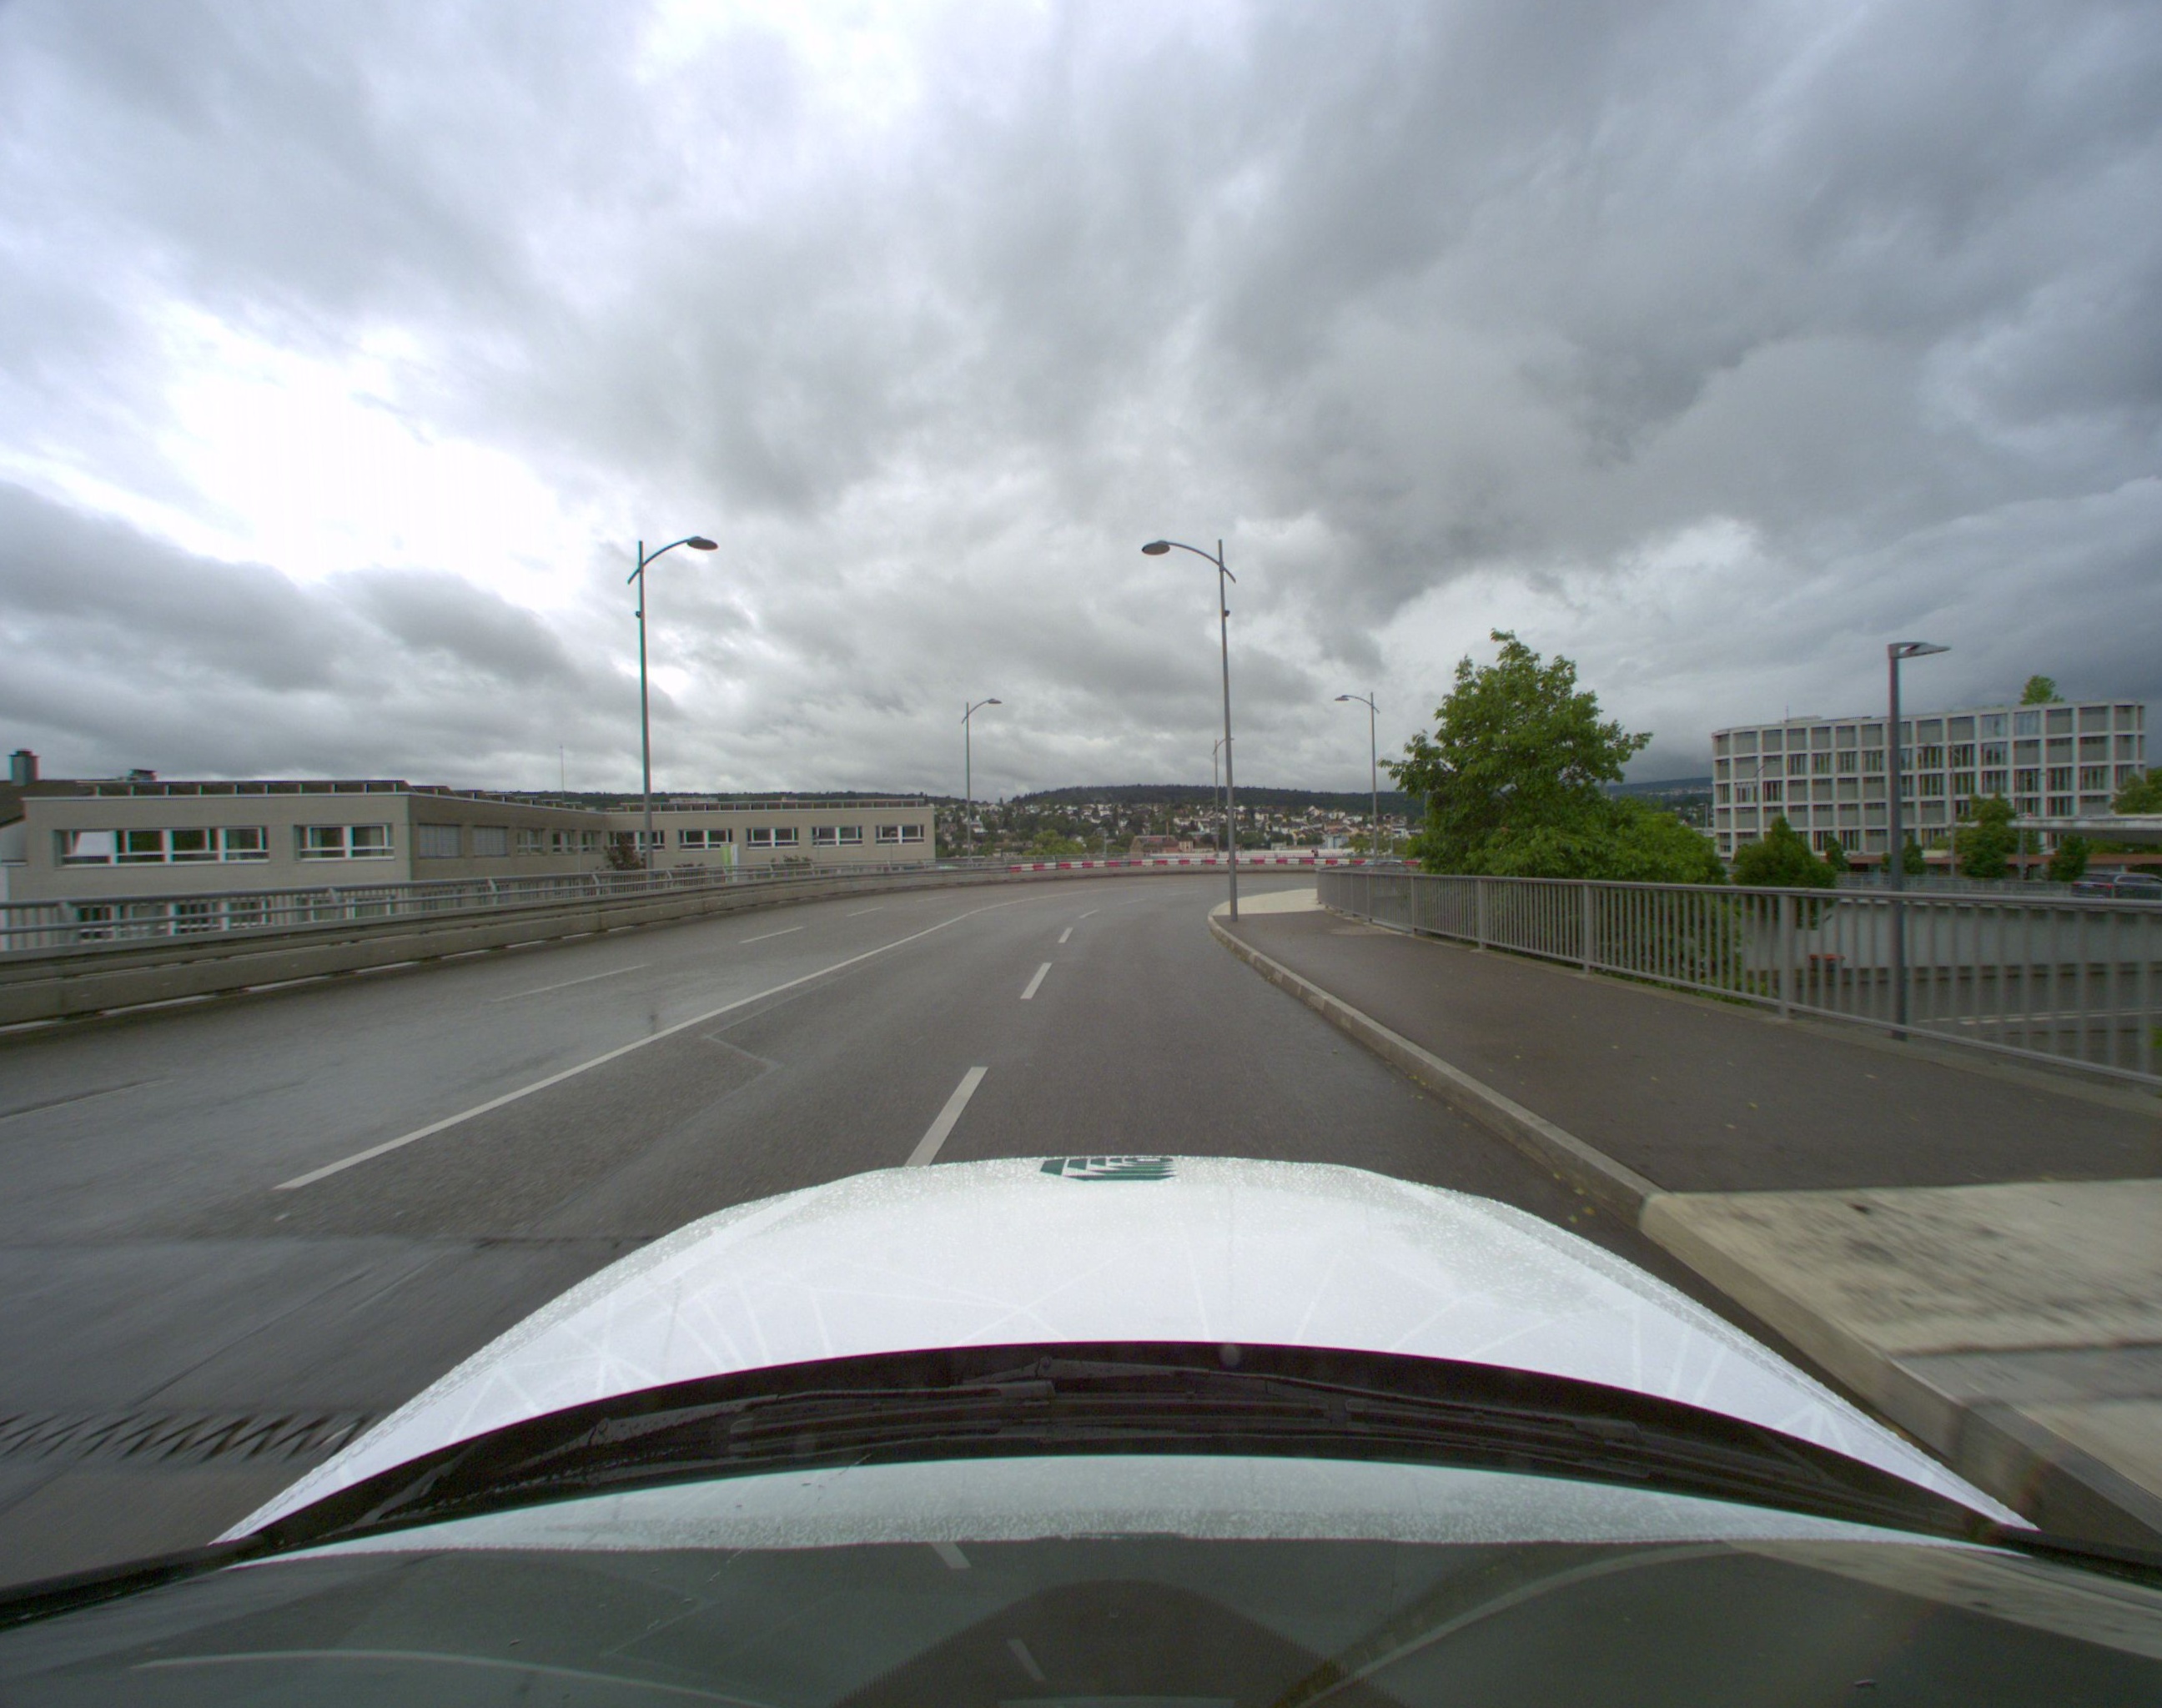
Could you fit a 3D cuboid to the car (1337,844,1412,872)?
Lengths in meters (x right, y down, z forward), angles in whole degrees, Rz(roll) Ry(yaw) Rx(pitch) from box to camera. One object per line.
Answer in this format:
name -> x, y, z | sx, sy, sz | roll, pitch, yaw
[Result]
car -> 15.613, 0.183, 43.334 | 3.735, 1.419, 1.696 | -1, 0, -29
